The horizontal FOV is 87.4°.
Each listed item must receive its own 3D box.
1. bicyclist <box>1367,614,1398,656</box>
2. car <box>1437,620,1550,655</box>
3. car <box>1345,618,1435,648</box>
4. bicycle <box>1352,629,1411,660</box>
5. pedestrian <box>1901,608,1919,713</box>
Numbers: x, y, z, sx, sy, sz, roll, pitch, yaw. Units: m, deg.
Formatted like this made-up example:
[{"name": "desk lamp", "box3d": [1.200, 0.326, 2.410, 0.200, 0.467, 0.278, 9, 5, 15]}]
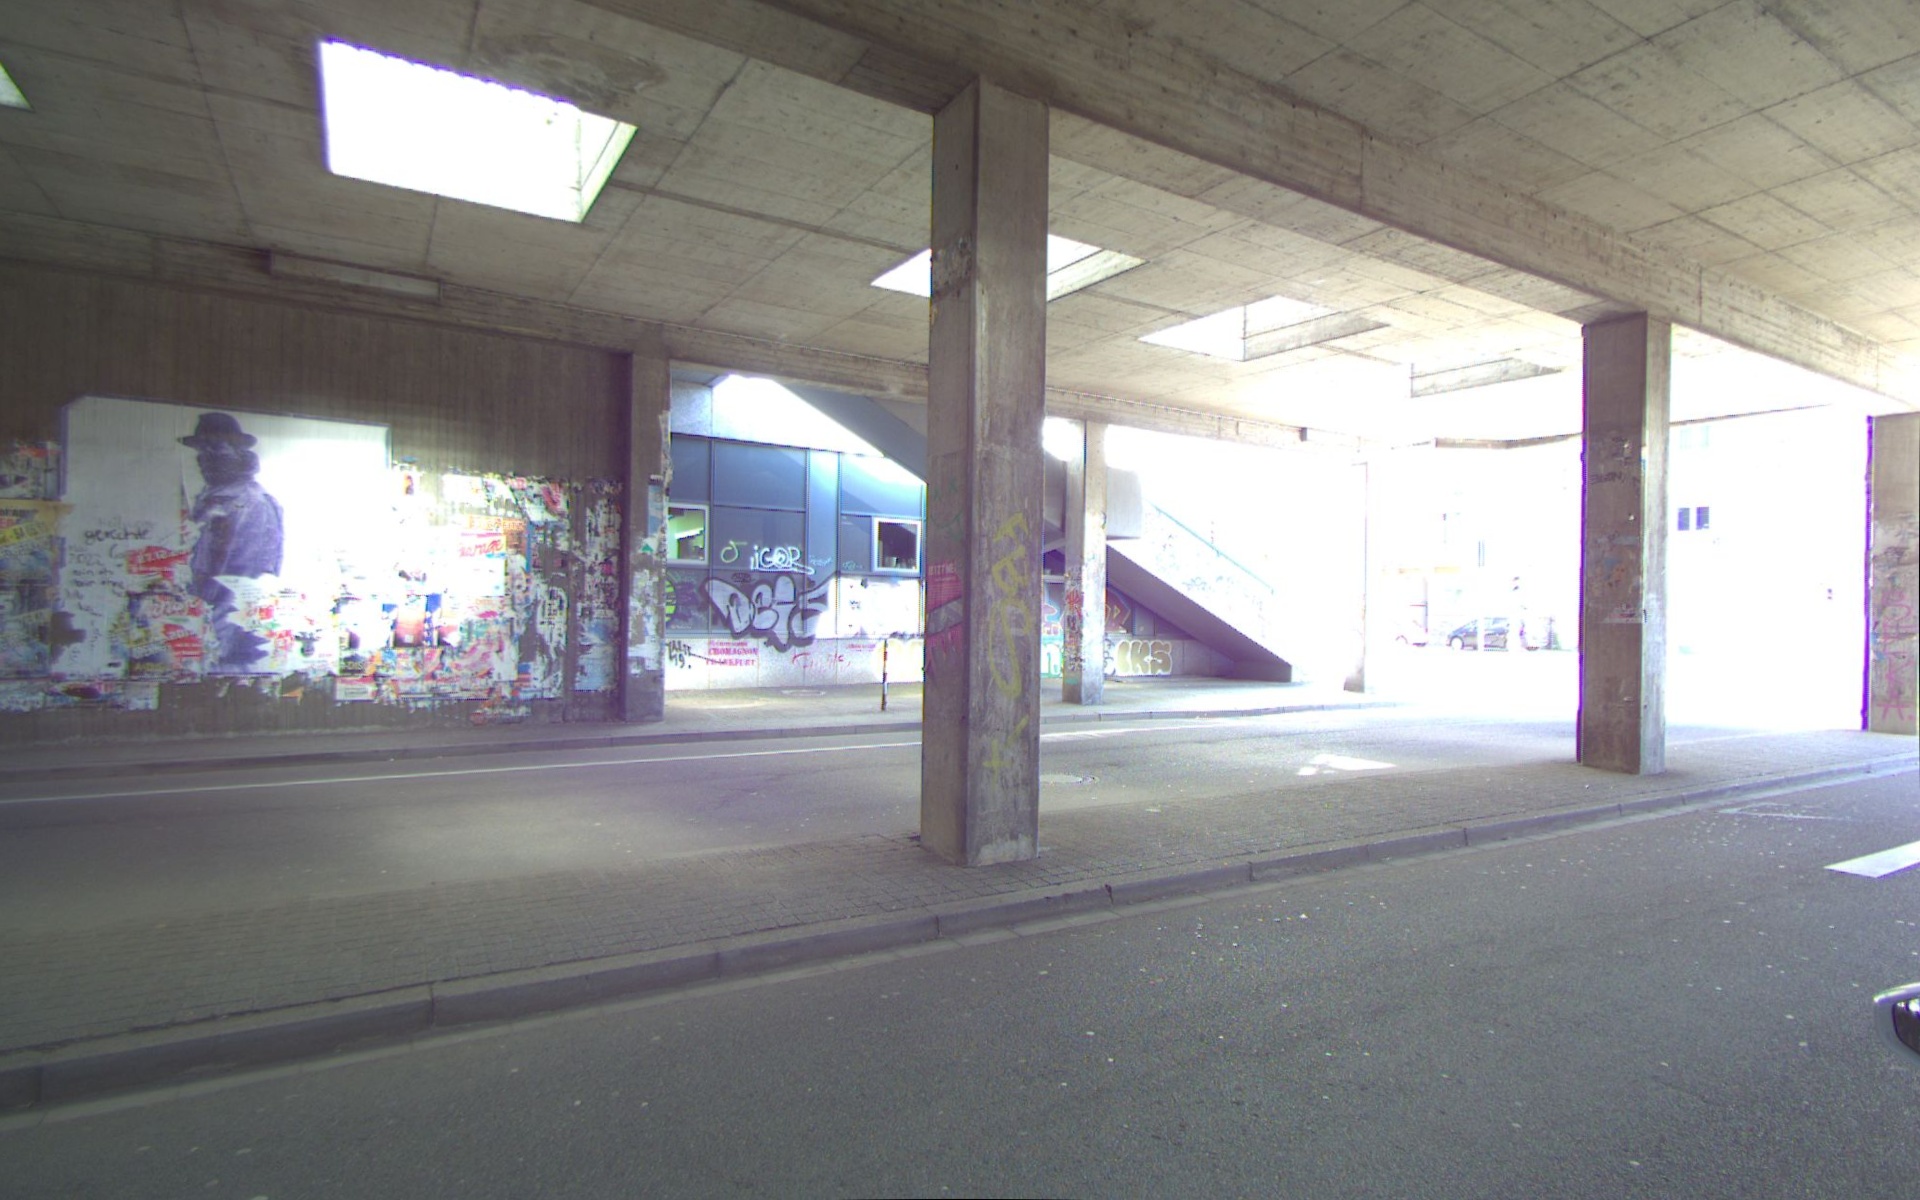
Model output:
[{"name": "bicyclist", "box3d": [14.755, 1.237, 35.081, 0.675, 1.442, 0.736, 2, -2, -23]}, {"name": "car", "box3d": [25.300, 1.758, 47.792, 1.905, 1.428, 4.382, 2, 0, -32]}, {"name": "car", "box3d": [22.482, 1.709, 52.697, 1.905, 1.428, 3.965, 2, 0, -32]}, {"name": "bicycle", "box3d": [14.733, 1.540, 35.152, 0.708, 1.063, 1.986, 2, -2, -22]}, {"name": "pedestrian", "box3d": [16.760, 1.040, 17.051, 0.784, 1.785, 0.925, 2, 0, -28]}]
